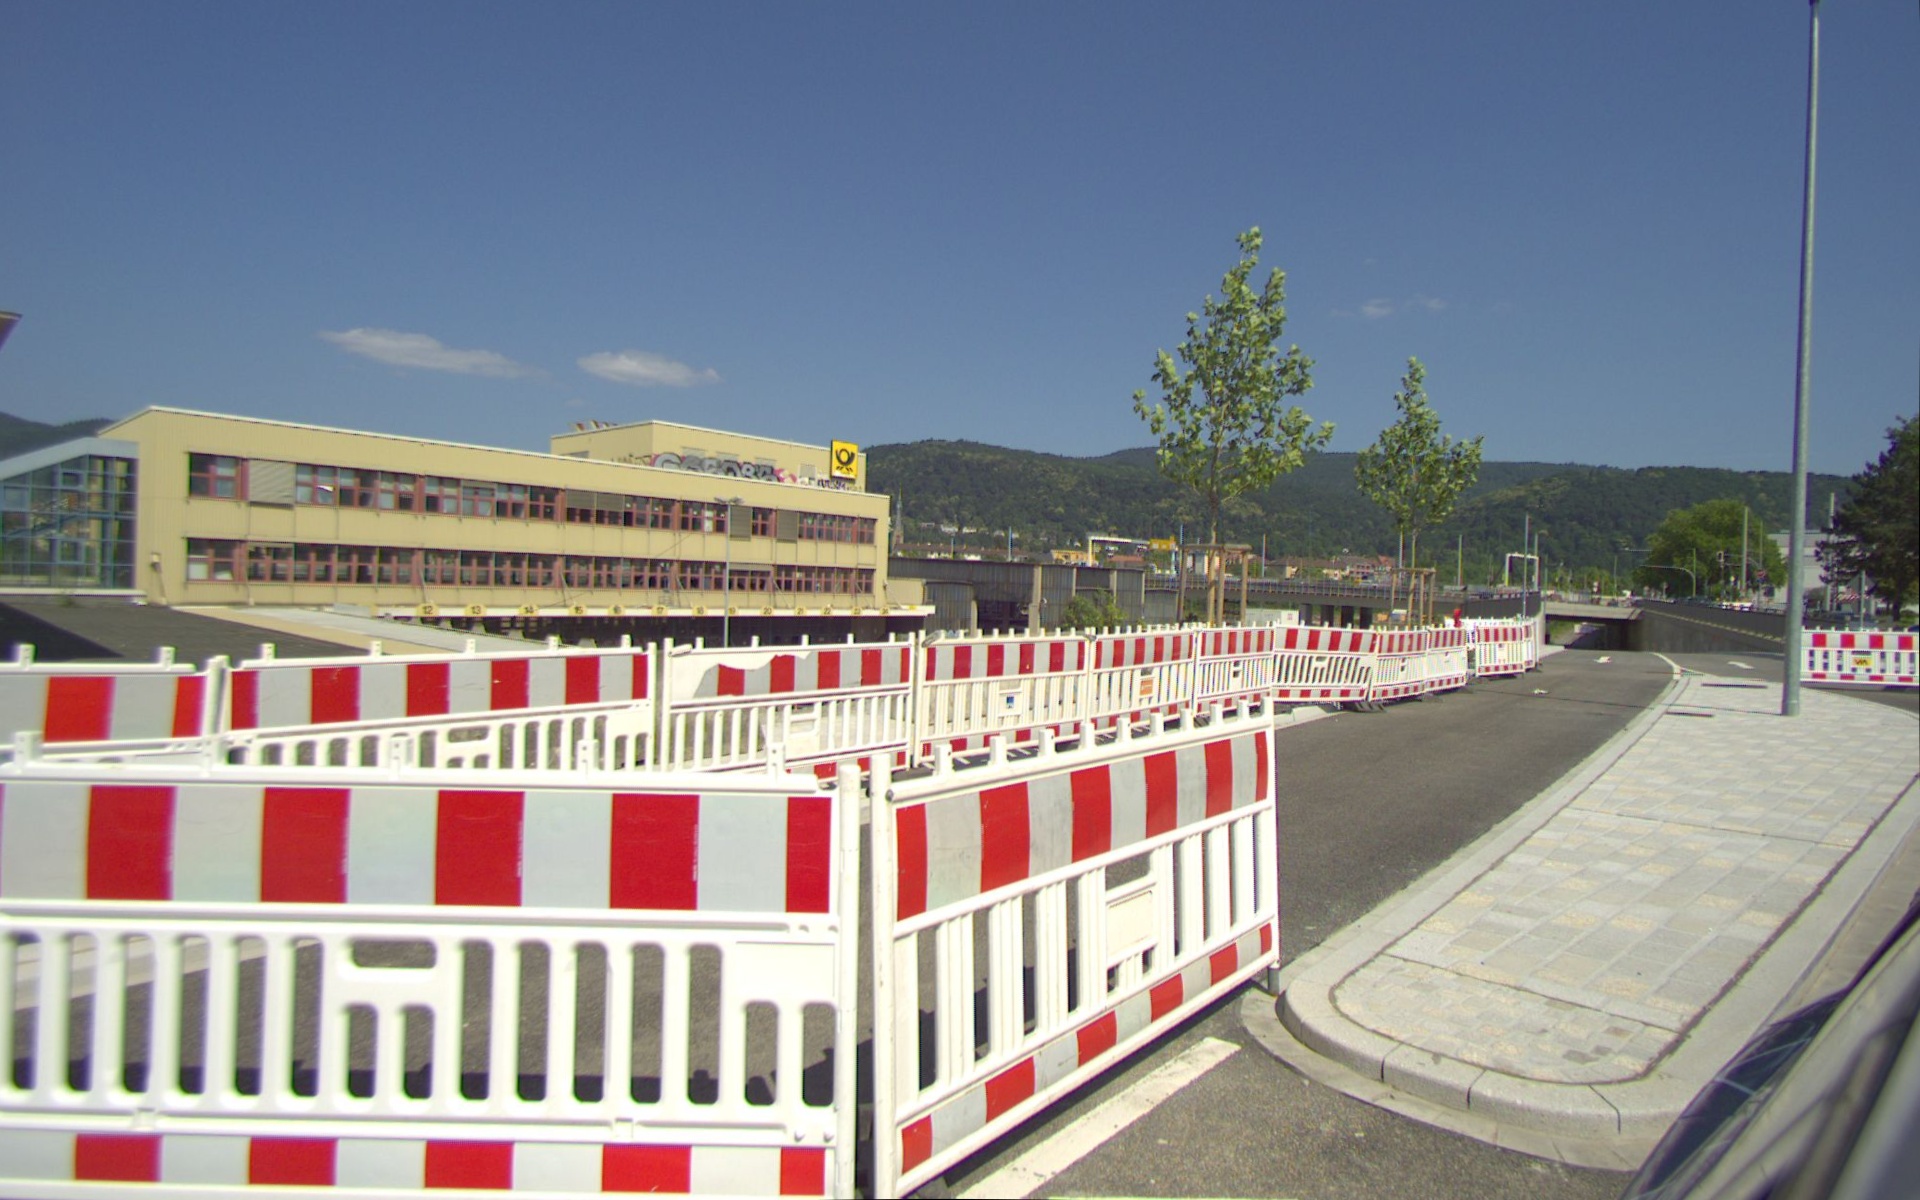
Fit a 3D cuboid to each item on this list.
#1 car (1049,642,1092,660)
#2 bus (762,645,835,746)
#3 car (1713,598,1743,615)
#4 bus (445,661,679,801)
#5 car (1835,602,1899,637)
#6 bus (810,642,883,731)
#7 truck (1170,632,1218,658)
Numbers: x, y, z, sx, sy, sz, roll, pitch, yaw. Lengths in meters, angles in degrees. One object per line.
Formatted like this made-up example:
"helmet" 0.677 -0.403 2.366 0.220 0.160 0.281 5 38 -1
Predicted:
"car" 11.602 5.353 106.708 4.351 1.605 1.720 1 1 41
"bus" -9.471 5.025 57.610 2.609 3.811 17.164 0 1 -14
"car" 69.698 0.545 91.873 1.605 1.459 3.731 2 1 28
"bus" -15.674 4.934 41.689 2.622 3.811 13.109 1 1 9
"car" 41.555 0.846 46.435 1.608 1.459 3.723 2 2 33
"bus" -7.492 5.086 63.965 2.609 3.811 17.513 0 1 -13
"truck" 28.175 5.356 121.809 1.992 2.792 8.269 1 1 41
